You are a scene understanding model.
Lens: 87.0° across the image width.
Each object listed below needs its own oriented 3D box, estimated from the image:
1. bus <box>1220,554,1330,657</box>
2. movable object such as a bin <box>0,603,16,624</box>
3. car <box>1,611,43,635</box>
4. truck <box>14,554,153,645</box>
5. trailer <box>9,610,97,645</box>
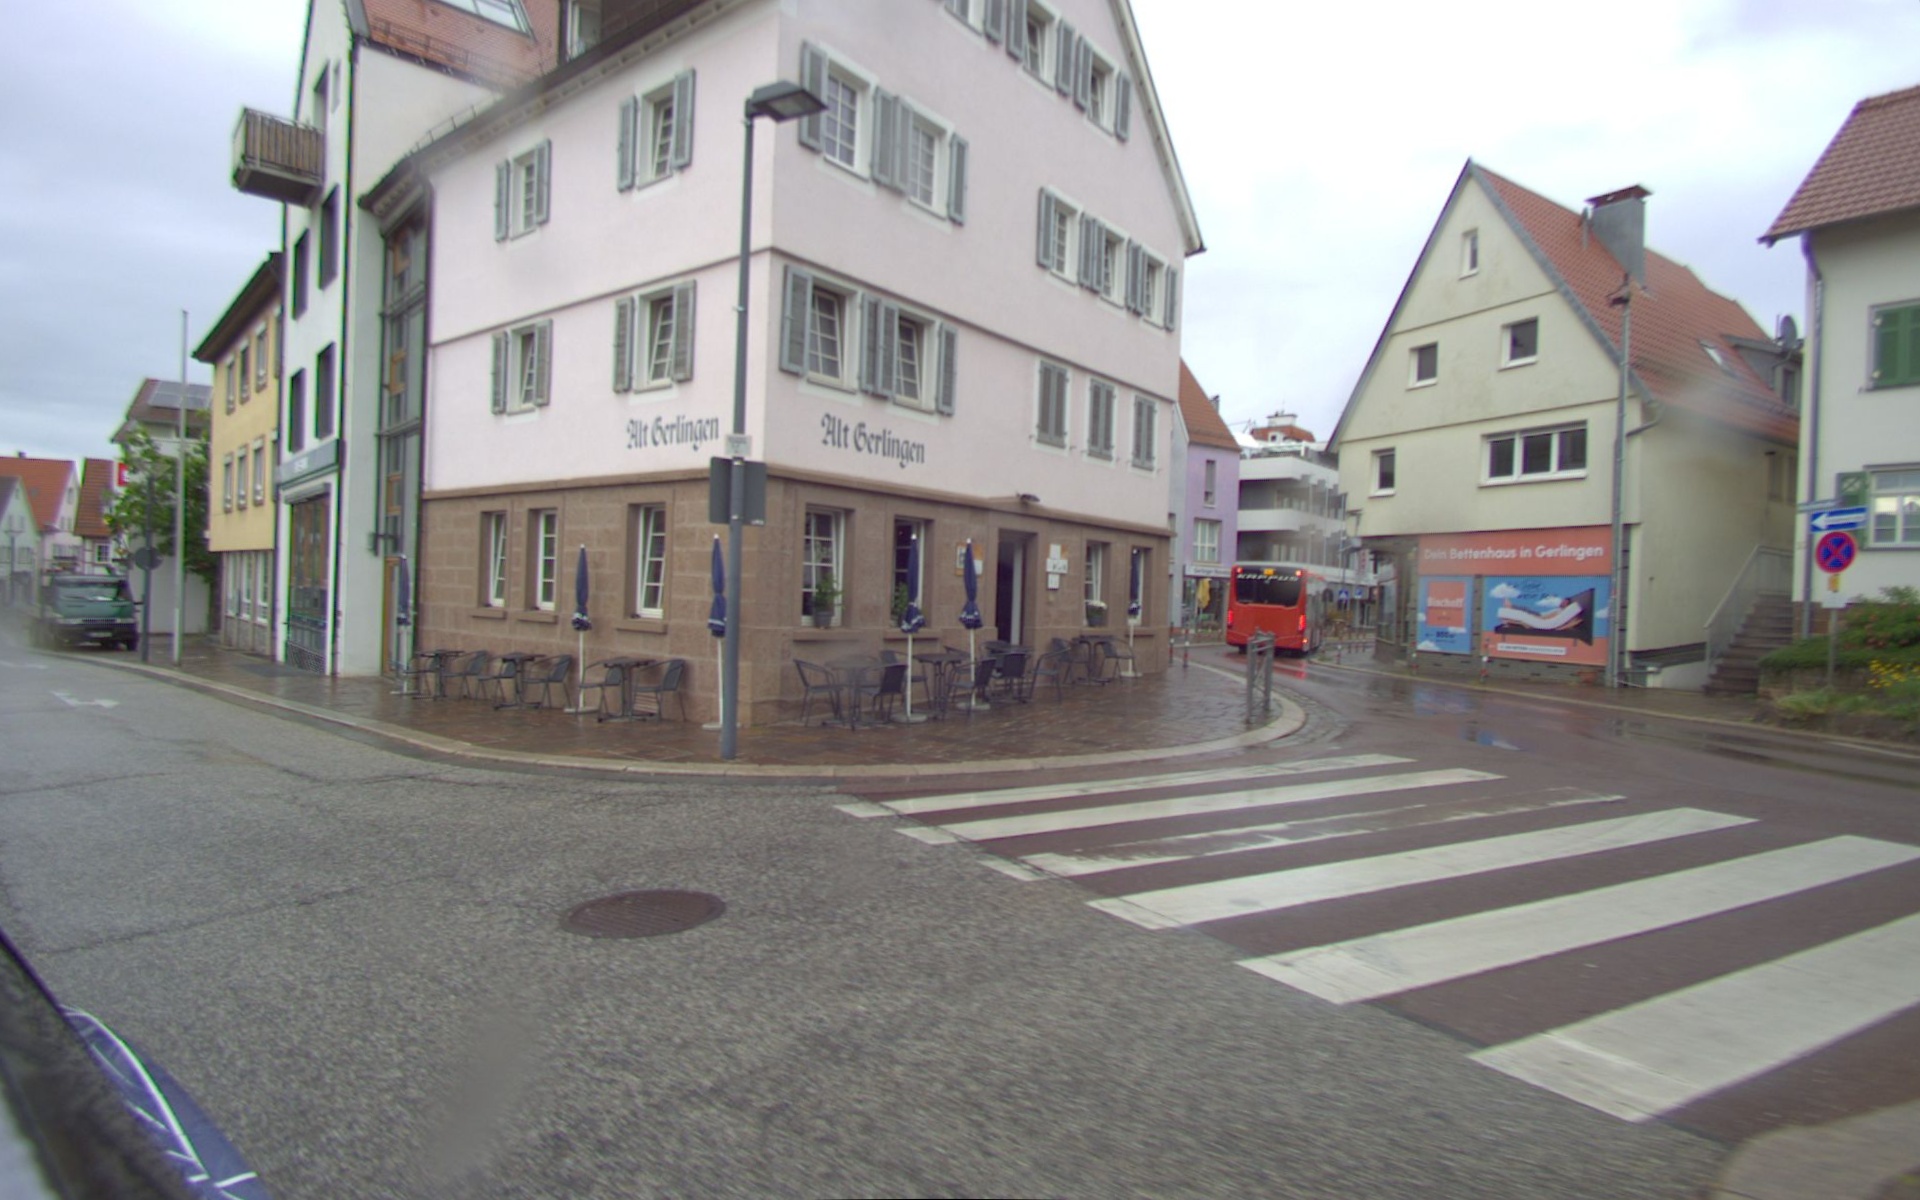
[{"bbox_3d":[12.048,0.321,37.942,2.834,3.283,10.534,2,-1,23],"label":"bus"},{"bbox_3d":[-50.859,0.718,54.015,0.687,1.085,0.645,-1,1,-44],"label":"movable object such as a bin"},{"bbox_3d":[-60.980,1.455,65.835,1.780,1.453,4.007,1,0,-40],"label":"car"},{"bbox_3d":[-27.753,0.099,31.957,6.478,2.615,2.375,-2,-3,41],"label":"truck"},{"bbox_3d":[-31.371,0.970,34.985,3.017,1.133,1.833,-2,-3,40],"label":"trailer"}]
